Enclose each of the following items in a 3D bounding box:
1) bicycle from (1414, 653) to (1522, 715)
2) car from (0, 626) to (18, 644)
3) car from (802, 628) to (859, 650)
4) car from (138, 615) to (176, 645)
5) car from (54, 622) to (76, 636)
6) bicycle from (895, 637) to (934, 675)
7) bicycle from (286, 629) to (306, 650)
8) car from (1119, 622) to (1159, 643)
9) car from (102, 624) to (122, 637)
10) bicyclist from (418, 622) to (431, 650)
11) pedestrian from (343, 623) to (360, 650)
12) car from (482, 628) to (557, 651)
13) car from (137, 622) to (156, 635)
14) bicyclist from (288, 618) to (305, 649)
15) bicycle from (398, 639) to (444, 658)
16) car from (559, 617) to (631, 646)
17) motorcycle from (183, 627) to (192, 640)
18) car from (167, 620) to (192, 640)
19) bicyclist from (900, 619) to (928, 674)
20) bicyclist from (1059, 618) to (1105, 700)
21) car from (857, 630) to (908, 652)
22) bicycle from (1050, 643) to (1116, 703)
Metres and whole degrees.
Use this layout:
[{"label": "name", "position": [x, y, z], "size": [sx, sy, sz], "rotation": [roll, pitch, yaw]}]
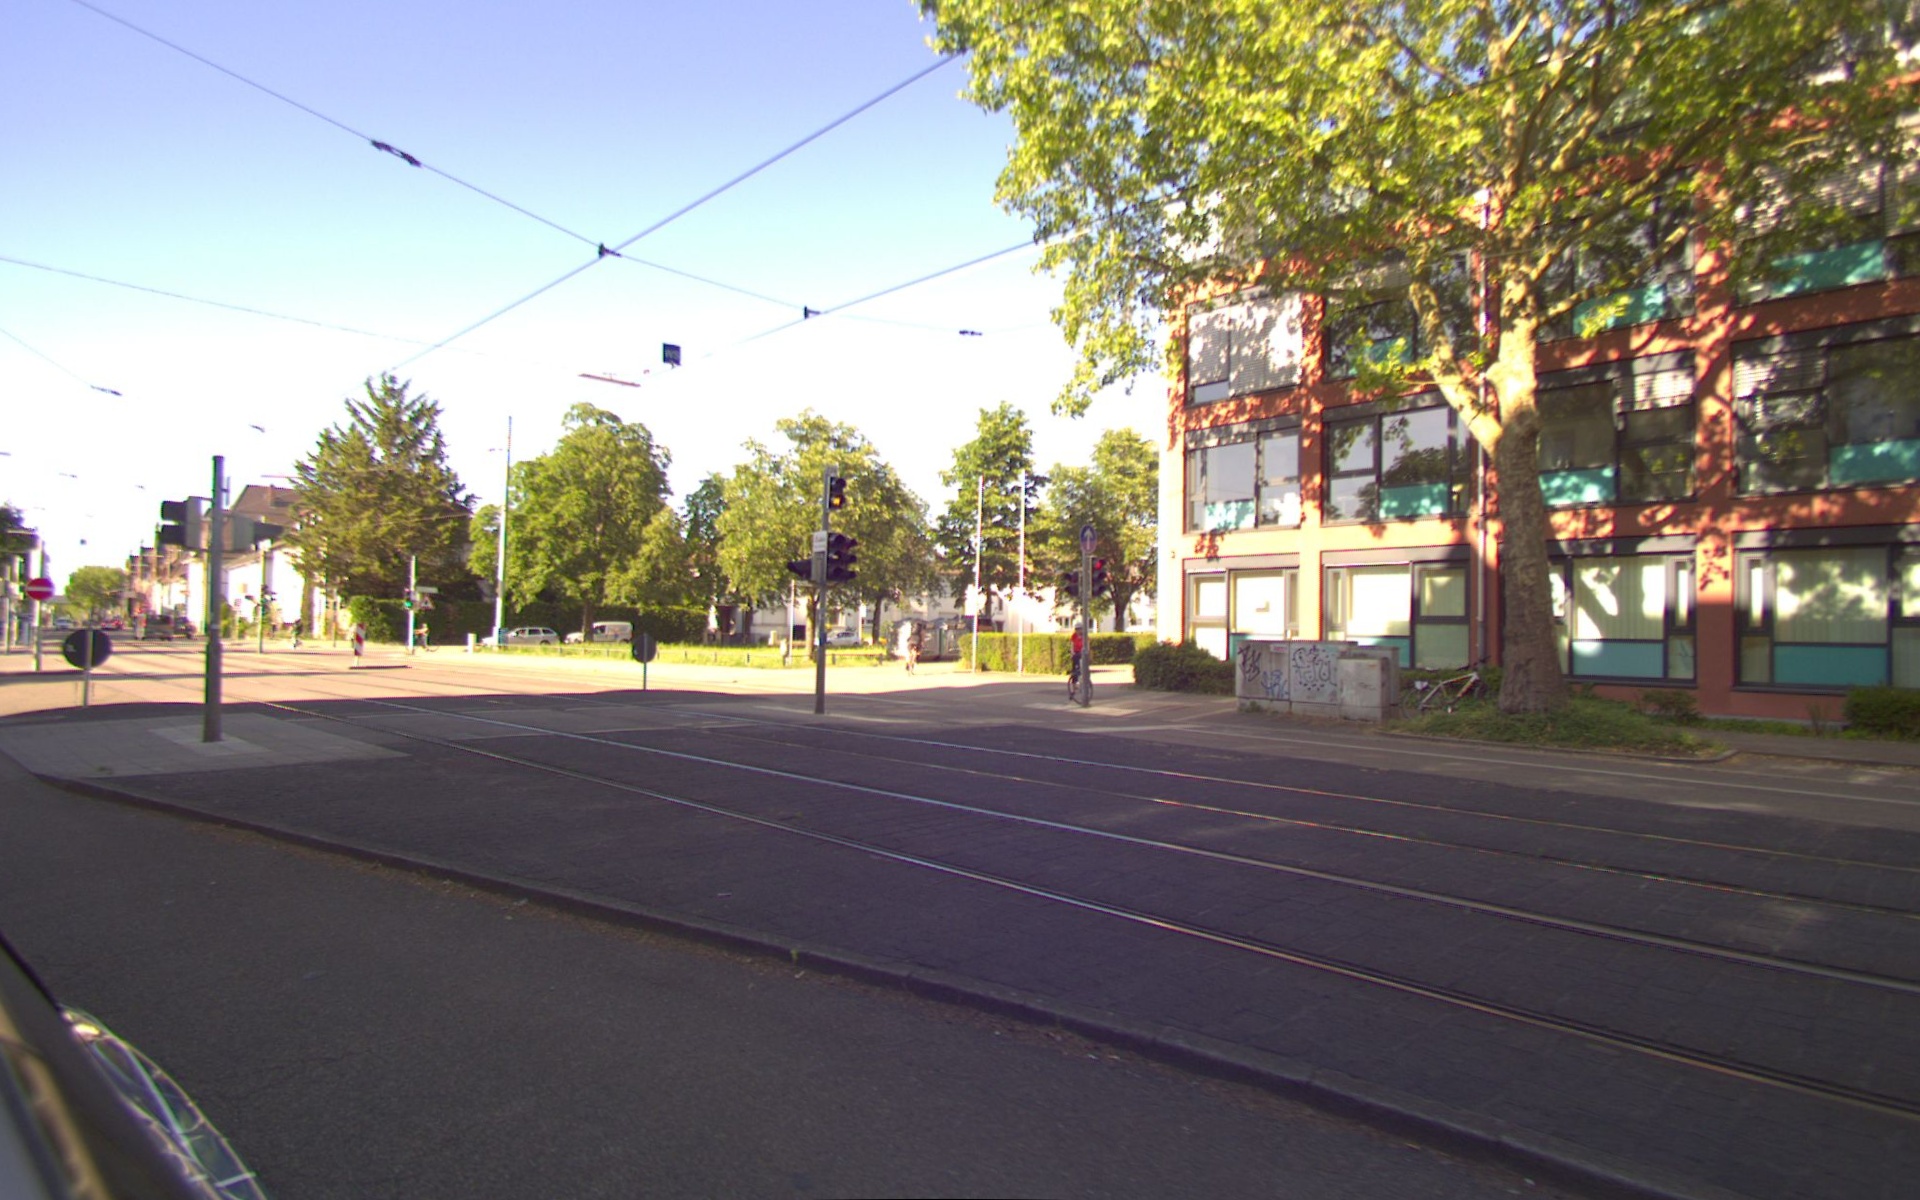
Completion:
[{"label": "bicycle", "position": [8.202, 1.344, 16.403], "size": [1.535, 0.913, 0.517], "rotation": [0, -2, 25]}, {"label": "car", "position": [-85.179, 3.109, 89.946], "size": [1.678, 1.562, 4.009], "rotation": [0, -1, -37]}, {"label": "car", "position": [-10.275, 3.101, 80.538], "size": [4.134, 1.756, 1.820], "rotation": [2, -3, -40]}, {"label": "car", "position": [-59.392, 2.262, 74.845], "size": [1.994, 2.029, 5.259], "rotation": [4, -5, -39]}, {"label": "car", "position": [-114.683, 3.685, 129.683], "size": [1.895, 1.728, 4.007], "rotation": [0, -1, -39]}, {"label": "bicycle", "position": [-1.394, 1.677, 30.556], "size": [0.636, 1.050, 1.931], "rotation": [-1, -1, -19]}, {"label": "bicycle", "position": [-37.024, 2.203, 56.418], "size": [0.580, 1.122, 1.828], "rotation": [4, -4, -44]}, {"label": "car", "position": [18.296, 3.303, 103.646], "size": [4.117, 2.110, 1.820], "rotation": [2, -3, -40]}, {"label": "car", "position": [-113.711, 4.080, 135.721], "size": [1.894, 1.728, 4.008], "rotation": [0, -1, -38]}, {"label": "bicyclist", "position": [-31.733, 2.153, 59.942], "size": [0.550, 1.635, 0.900], "rotation": [2, -3, -34]}, {"label": "pedestrian", "position": [-36.529, 2.172, 60.793], "size": [0.615, 1.568, 0.679], "rotation": [-1, -1, 0]}, {"label": "car", "position": [-27.367, 2.457, 62.884], "size": [3.934, 1.444, 1.821], "rotation": [2, -3, -36]}, {"label": "car", "position": [-111.348, 3.942, 138.475], "size": [1.895, 1.728, 4.006], "rotation": [-1, -1, -40]}, {"label": "bicyclist", "position": [-36.957, 1.859, 56.390], "size": [0.580, 1.724, 0.902], "rotation": [4, -4, -44]}, {"label": "bicycle", "position": [-31.868, 2.878, 59.843], "size": [2.249, 1.126, 0.932], "rotation": [2, -2, -34]}, {"label": "car", "position": [-24.697, 2.109, 68.578], "size": [4.247, 1.881, 1.820], "rotation": [1, -2, -40]}, {"label": "motorcycle", "position": [-67.932, 2.945, 88.985], "size": [0.596, 1.054, 2.441], "rotation": [0, -1, -40]}, {"label": "car", "position": [-77.635, 2.953, 100.643], "size": [1.895, 1.915, 4.007], "rotation": [0, -1, -39]}, {"label": "bicyclist", "position": [-1.397, 1.392, 30.553], "size": [0.636, 1.624, 0.783], "rotation": [-1, -1, -18]}, {"label": "bicyclist", "position": [2.601, 1.238, 21.654], "size": [0.596, 1.705, 0.935], "rotation": [-1, -1, -17]}, {"label": "car", "position": [-6.401, 3.402, 83.497], "size": [3.825, 1.756, 1.820], "rotation": [2, -2, -40]}, {"label": "bicycle", "position": [2.604, 1.531, 21.646], "size": [0.623, 1.138, 2.041], "rotation": [-1, 0, -17]}]
